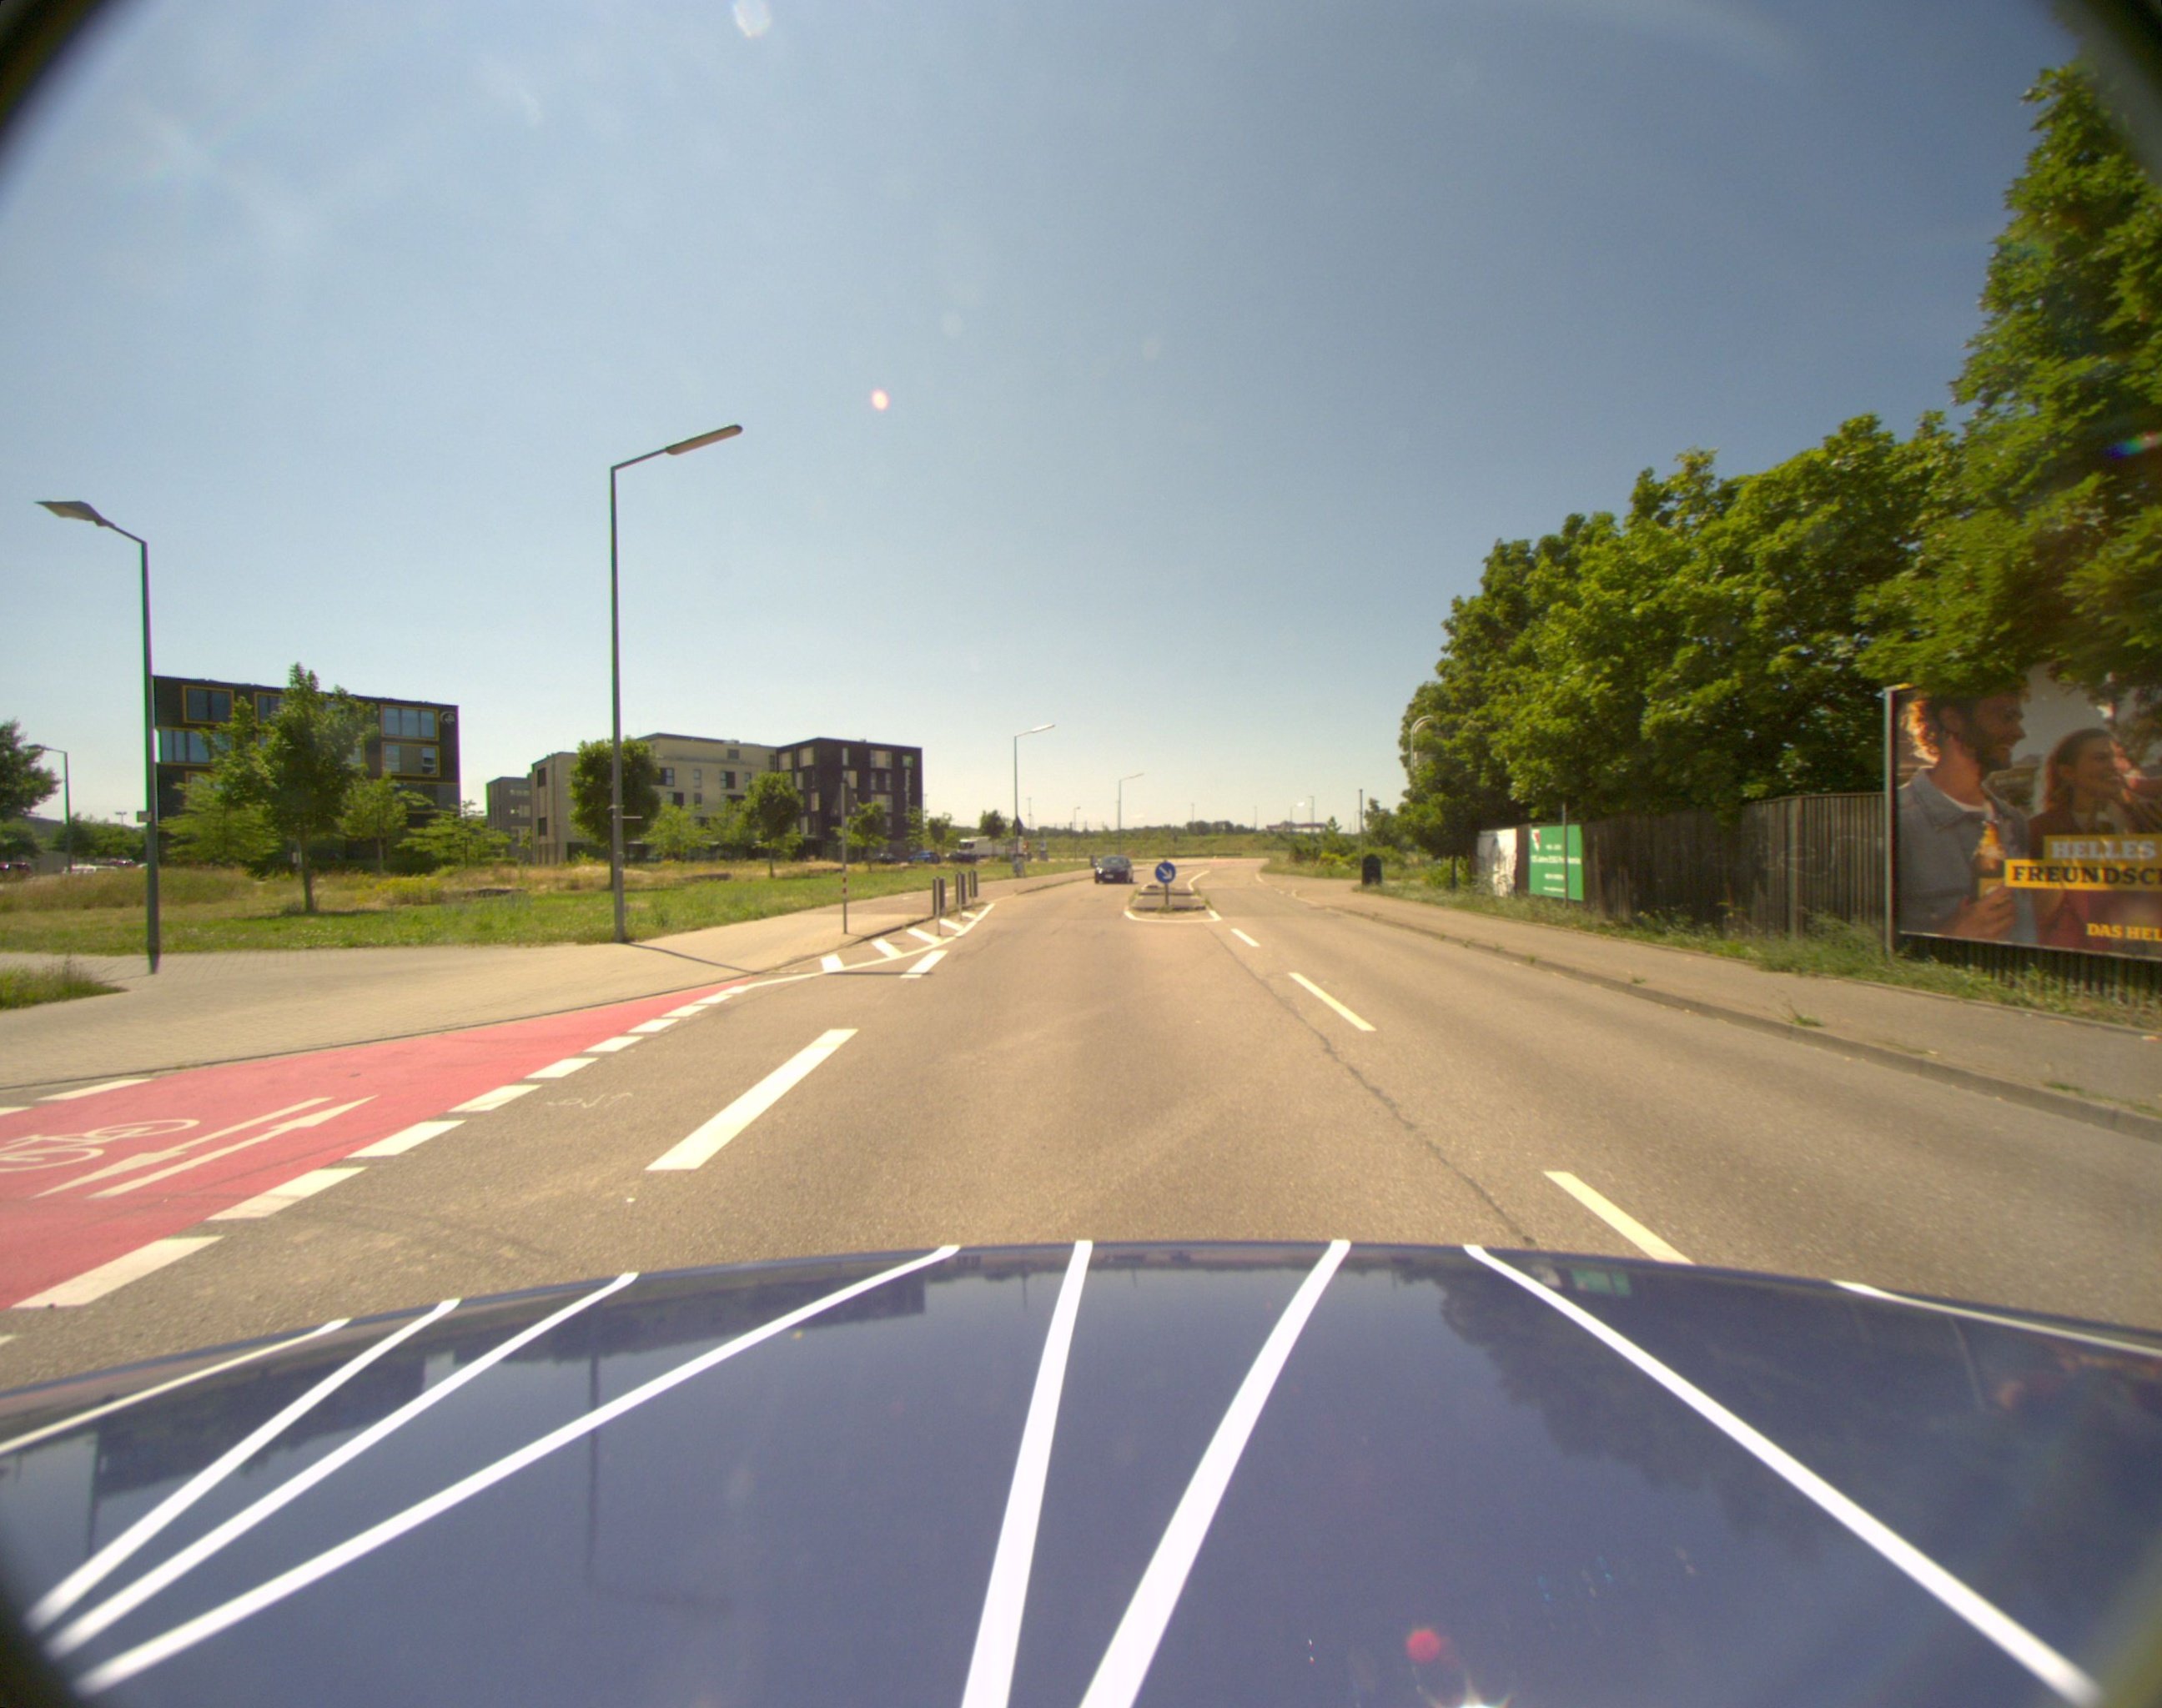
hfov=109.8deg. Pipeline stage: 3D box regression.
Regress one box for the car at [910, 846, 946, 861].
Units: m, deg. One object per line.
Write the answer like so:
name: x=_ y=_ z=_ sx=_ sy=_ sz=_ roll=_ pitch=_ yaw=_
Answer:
car: x=-17.122 y=-0.050 z=85.195 sx=4.059 sy=1.642 sz=1.958 roll=0 pitch=2 yaw=44

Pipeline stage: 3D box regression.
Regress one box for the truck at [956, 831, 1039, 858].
truck: x=-11.489 y=-1.425 z=106.142 sx=12.162 sy=3.443 sz=3.009 roll=-2 pitch=3 yaw=-44

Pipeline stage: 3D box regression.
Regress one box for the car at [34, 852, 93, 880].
car: x=-75.161 y=0.904 z=56.163 sx=1.963 sy=1.917 sz=3.483 roll=-4 pitch=1 yaw=-44

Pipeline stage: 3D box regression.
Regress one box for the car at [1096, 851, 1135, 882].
car: x=1.835 y=0.610 z=39.436 sx=1.653 sy=1.458 sz=4.161 roll=-1 pitch=1 yaw=7

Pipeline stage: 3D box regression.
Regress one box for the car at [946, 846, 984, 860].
car: x=-13.479 y=-0.075 z=88.147 sx=4.495 sy=1.553 sz=2.036 roll=0 pitch=1 yaw=43

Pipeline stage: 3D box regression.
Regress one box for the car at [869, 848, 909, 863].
car: x=-20.640 y=0.157 z=81.651 sx=4.114 sy=1.436 sz=1.966 roll=0 pitch=1 yaw=39
